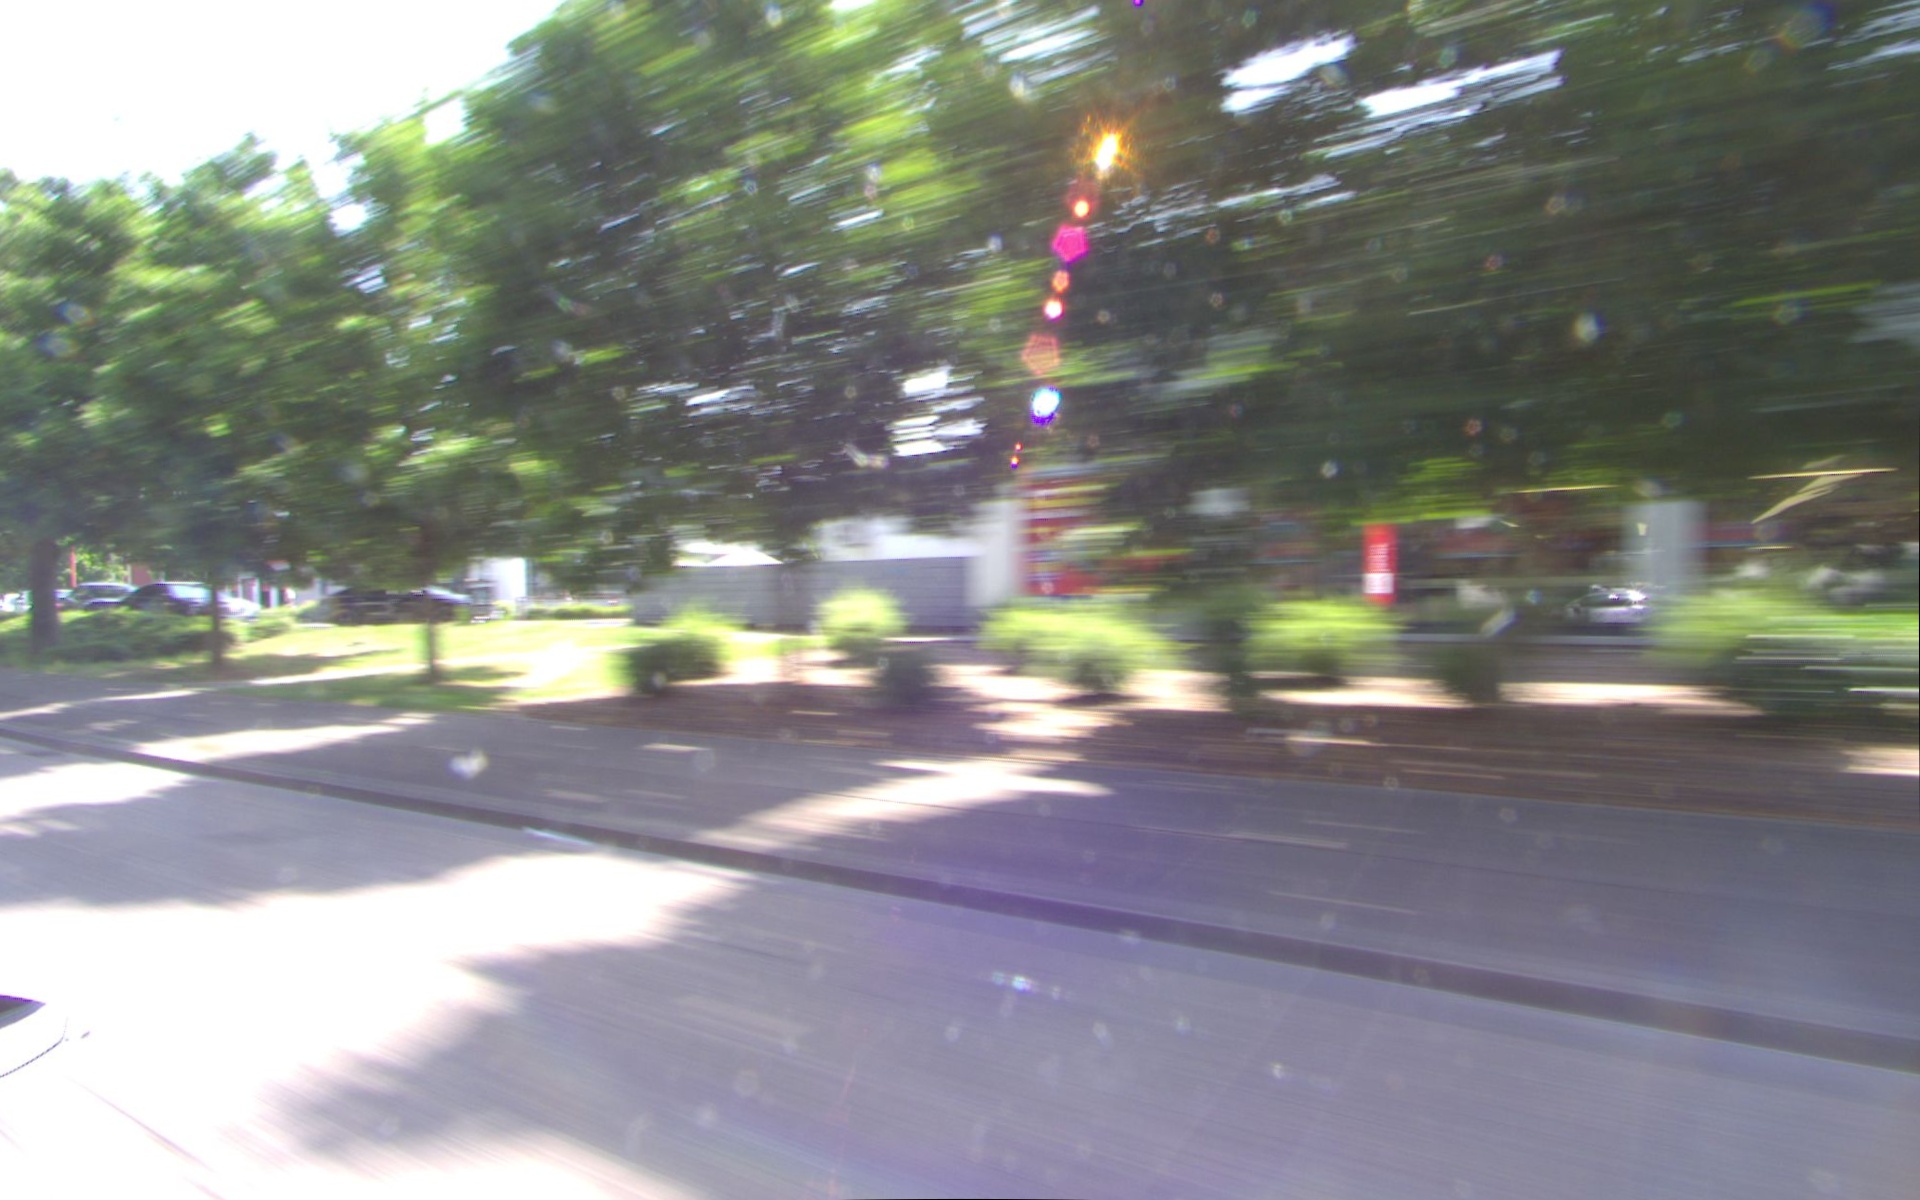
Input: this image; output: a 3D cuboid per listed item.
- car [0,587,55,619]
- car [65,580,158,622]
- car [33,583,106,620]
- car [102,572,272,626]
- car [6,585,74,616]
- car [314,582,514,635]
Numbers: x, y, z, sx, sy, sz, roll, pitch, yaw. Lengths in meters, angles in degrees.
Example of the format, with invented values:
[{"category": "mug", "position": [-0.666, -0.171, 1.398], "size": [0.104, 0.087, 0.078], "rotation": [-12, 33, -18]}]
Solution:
[{"category": "car", "position": [-40.718, 0.157, 43.526], "size": [3.823, 1.269, 1.611], "rotation": [-2, -2, 41]}, {"category": "car", "position": [-28.804, 0.079, 33.955], "size": [4.147, 1.268, 1.613], "rotation": [-2, -3, 38]}, {"category": "car", "position": [-33.425, 0.079, 37.546], "size": [3.721, 1.269, 1.611], "rotation": [-2, -2, 41]}, {"category": "car", "position": [-23.523, 0.026, 30.432], "size": [5.512, 1.470, 1.905], "rotation": [-1, -1, 27]}, {"category": "car", "position": [-36.784, 0.043, 40.041], "size": [2.819, 1.137, 1.503], "rotation": [-1, -1, 36]}, {"category": "car", "position": [-15.558, 0.225, 28.714], "size": [4.623, 1.370, 1.952], "rotation": [-1, 1, 1]}]
